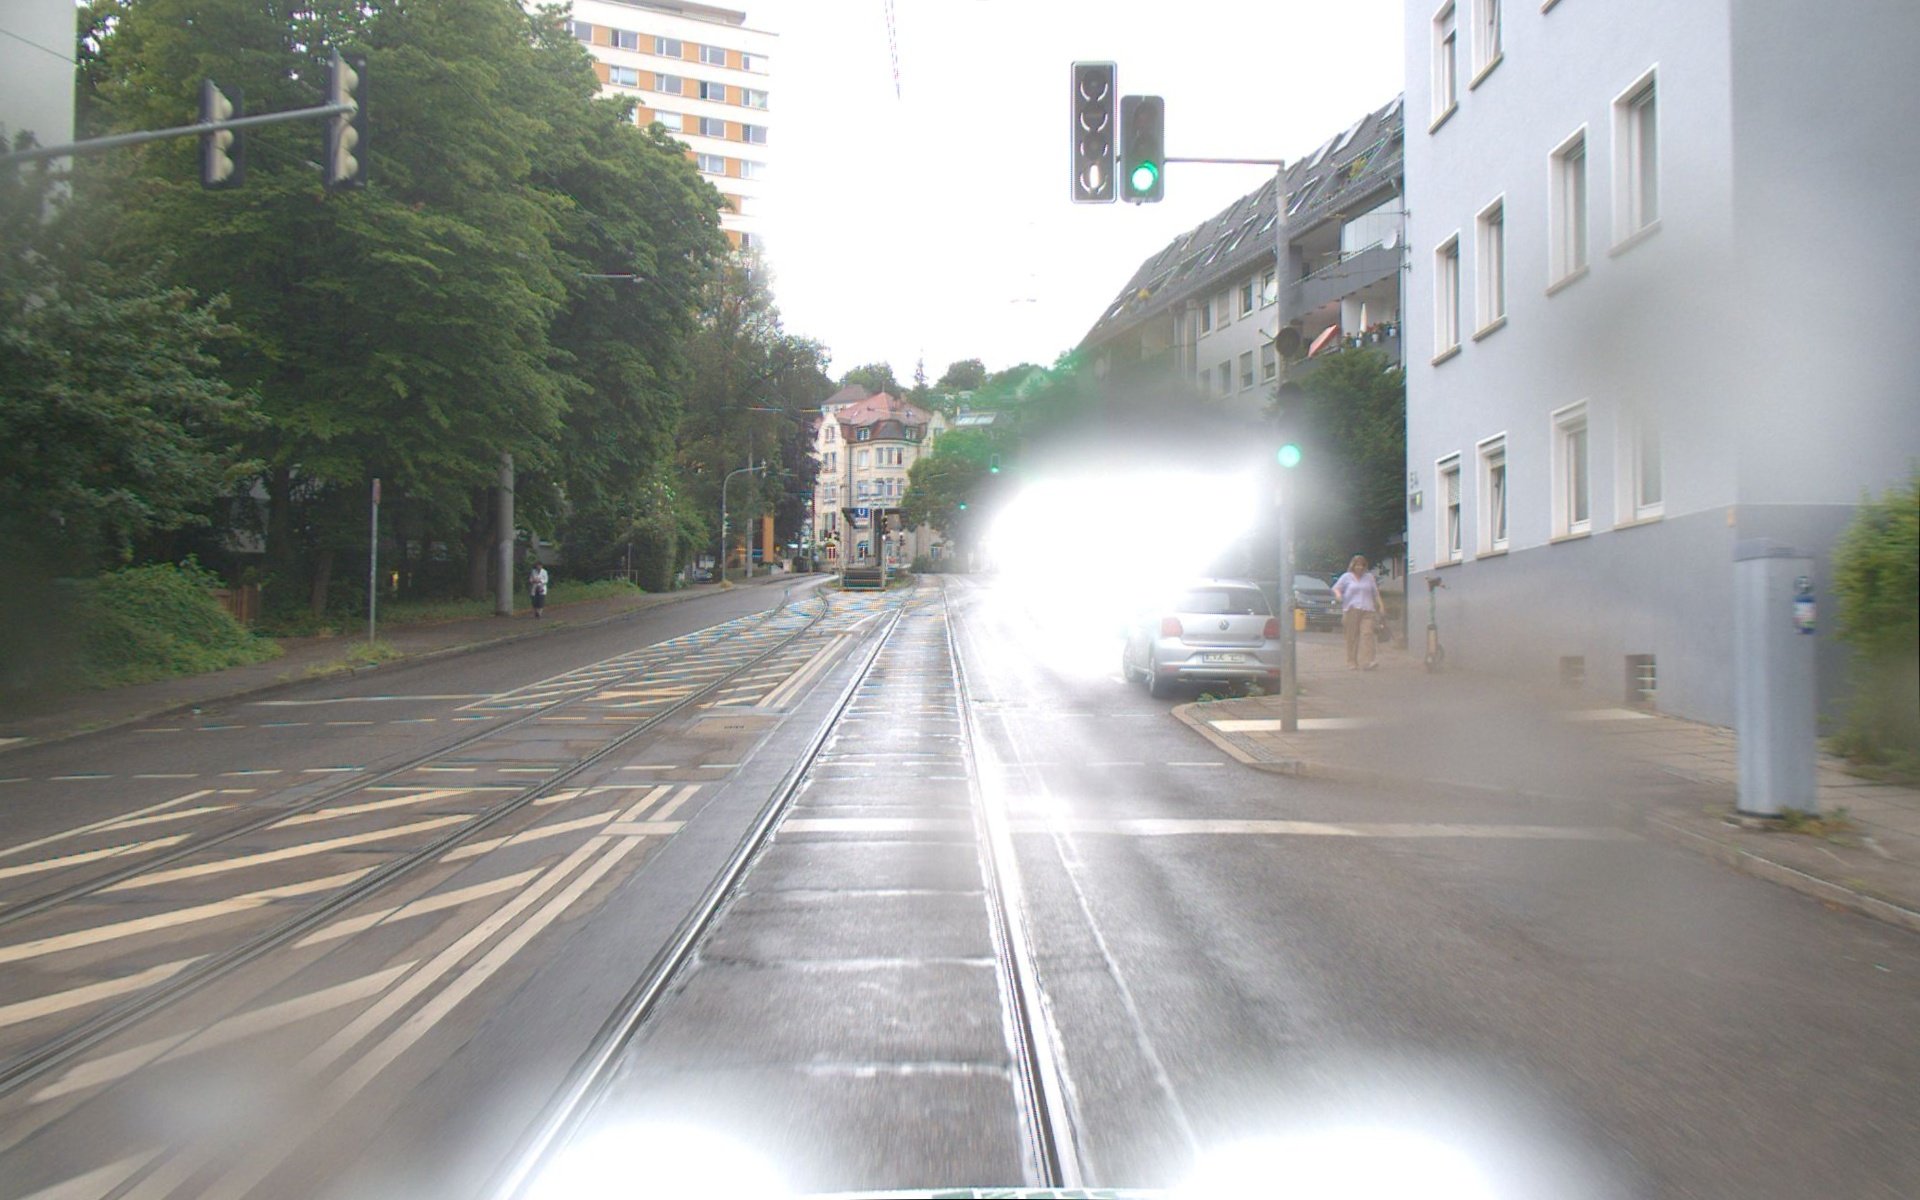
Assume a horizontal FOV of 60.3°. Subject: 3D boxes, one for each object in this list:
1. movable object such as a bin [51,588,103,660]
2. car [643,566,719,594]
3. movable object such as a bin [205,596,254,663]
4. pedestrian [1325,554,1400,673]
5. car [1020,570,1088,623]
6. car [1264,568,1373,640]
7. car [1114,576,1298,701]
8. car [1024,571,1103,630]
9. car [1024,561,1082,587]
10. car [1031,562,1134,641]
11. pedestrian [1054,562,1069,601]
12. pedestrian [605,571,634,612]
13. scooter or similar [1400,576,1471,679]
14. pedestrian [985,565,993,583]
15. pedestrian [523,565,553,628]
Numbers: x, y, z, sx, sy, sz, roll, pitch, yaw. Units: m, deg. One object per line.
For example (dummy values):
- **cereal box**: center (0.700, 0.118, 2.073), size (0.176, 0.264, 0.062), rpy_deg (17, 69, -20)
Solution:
- **movable object such as a bin**: center (-15.911, 0.442, 29.802), size (0.662, 1.255, 0.617), rpy_deg (4, -4, -43)
- **car**: center (-15.791, -1.143, 93.516), size (3.905, 1.431, 1.682), rpy_deg (0, -3, 22)
- **movable object such as a bin**: center (-14.024, 0.567, 31.742), size (0.662, 1.255, 0.617), rpy_deg (4, -4, -43)
- **pedestrian**: center (5.668, 0.176, 23.333), size (0.864, 1.610, 0.802), rpy_deg (-1, 2, 1)
- **car**: center (2.748, -0.123, 49.099), size (1.670, 1.451, 3.861), rpy_deg (1, 1, -2)
- **car**: center (8.710, 0.148, 40.528), size (1.685, 1.541, 4.202), rpy_deg (1, -3, -1)
- **car**: center (3.145, 0.441, 21.902), size (1.670, 1.458, 4.100), rpy_deg (1, 1, -2)
- **car**: center (2.708, -0.014, 44.076), size (1.670, 1.452, 4.249), rpy_deg (1, 1, -2)
- **car**: center (6.460, -1.782, 114.924), size (3.906, 1.674, 1.807), rpy_deg (1, -1, -2)
- **car**: center (2.757, -0.002, 38.219), size (1.868, 1.670, 4.688), rpy_deg (1, 1, -2)
- **pedestrian**: center (4.417, -0.811, 72.051), size (0.631, 1.657, 0.699), rpy_deg (0, -1, 2)
- **pedestrian**: center (-14.432, -0.364, 70.151), size (0.897, 1.707, 0.740), rpy_deg (-1, -3, 25)
- **scooter or similar**: center (6.464, 0.350, 22.525), size (0.562, 1.271, 1.611), rpy_deg (-3, 3, 4)
- **pedestrian**: center (2.461, -2.237, 141.258), size (0.567, 1.492, 0.543), rpy_deg (1, -3, -9)
- **pedestrian**: center (-11.175, -0.086, 43.789), size (0.571, 1.628, 0.868), rpy_deg (2, 0, -5)
